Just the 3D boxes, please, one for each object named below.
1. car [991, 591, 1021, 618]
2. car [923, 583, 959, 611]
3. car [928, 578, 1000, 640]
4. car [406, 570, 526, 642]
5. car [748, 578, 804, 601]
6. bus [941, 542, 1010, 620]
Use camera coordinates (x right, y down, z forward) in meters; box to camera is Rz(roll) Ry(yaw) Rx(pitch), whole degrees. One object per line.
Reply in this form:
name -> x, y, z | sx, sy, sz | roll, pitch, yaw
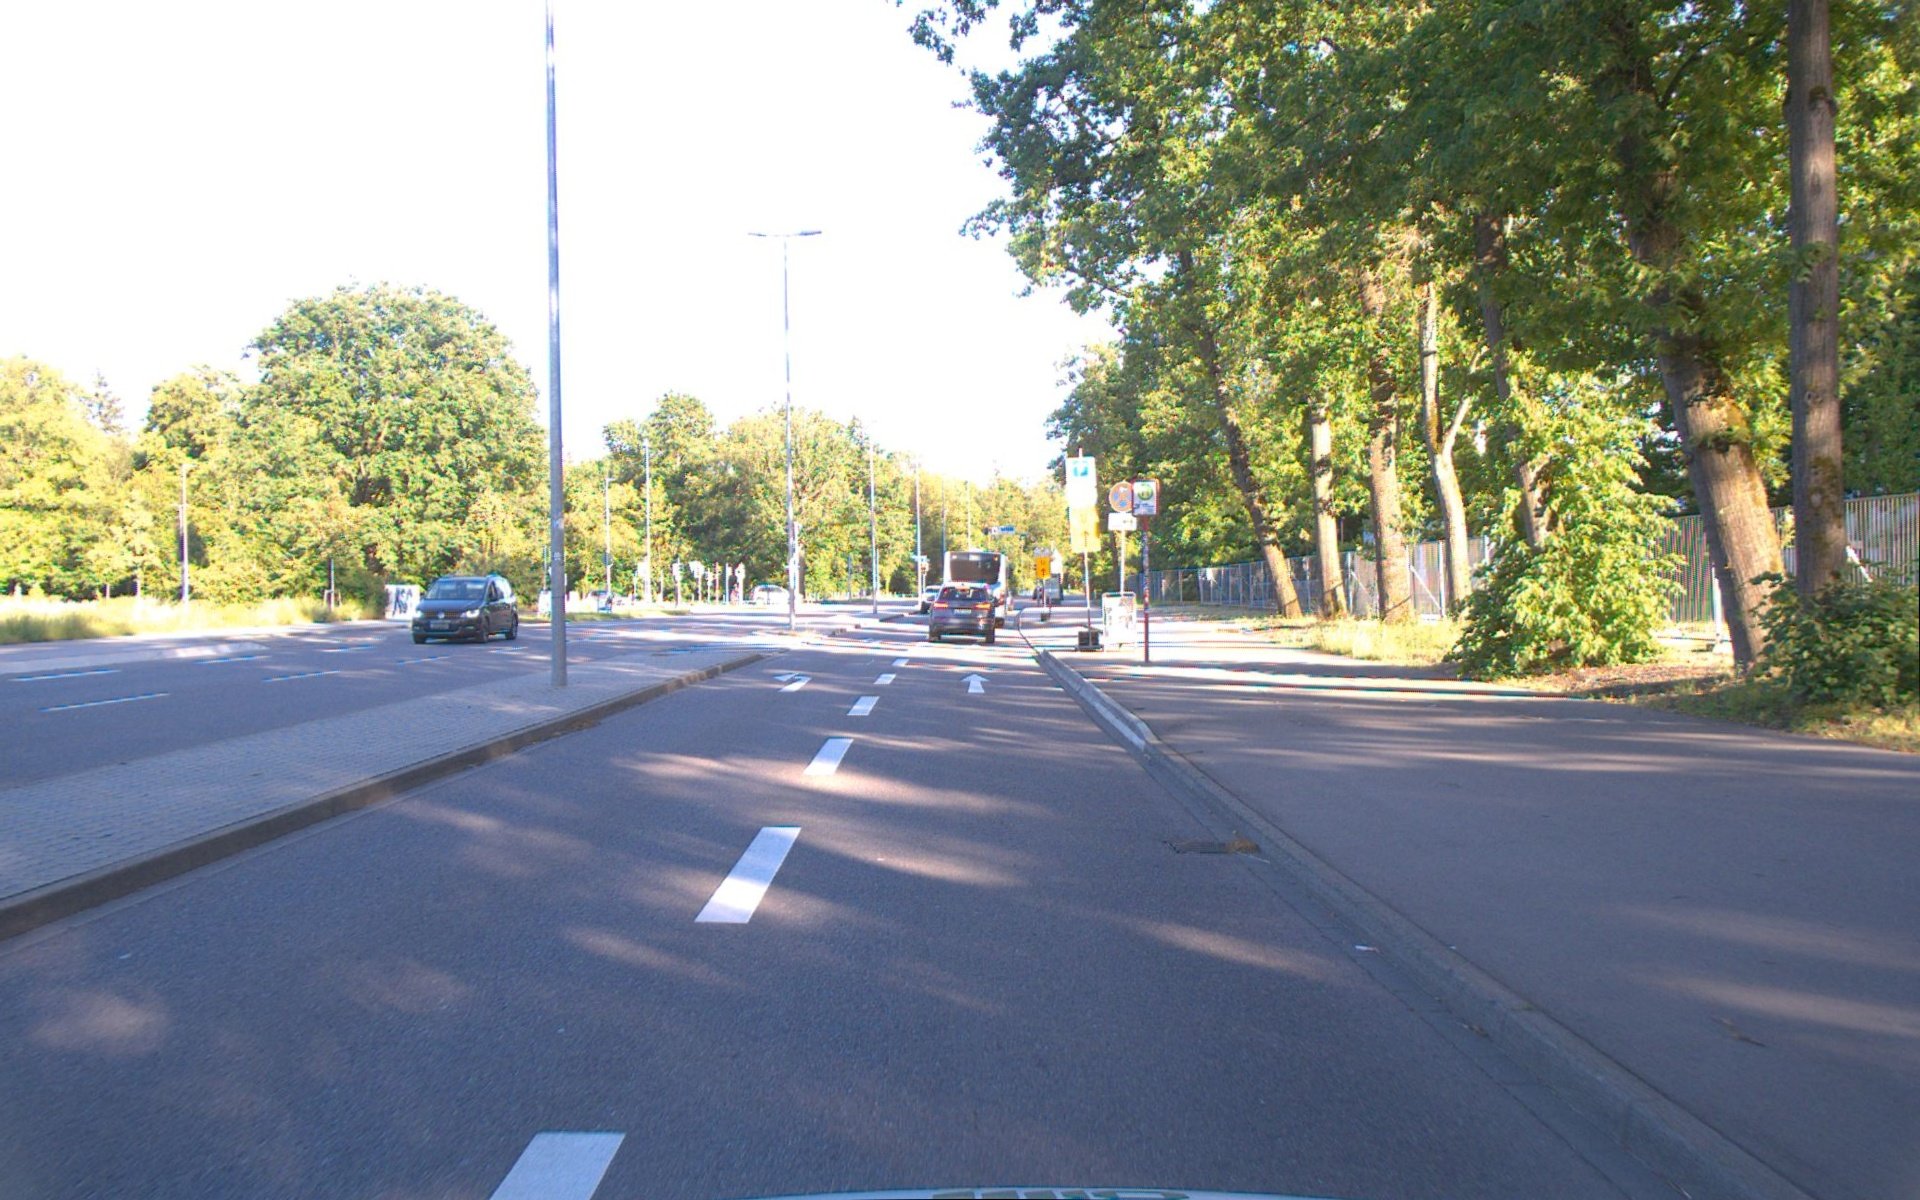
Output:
car -> 3.059, 0.293, 109.333 | 1.870, 1.758, 4.581 | 1, 0, 3
car -> -1.035, -0.183, 92.949 | 1.798, 1.545, 4.002 | 0, 0, 2
car -> 0.156, 0.223, 47.089 | 1.859, 1.660, 4.002 | 1, 1, 2
car -> -12.735, 0.103, 42.918 | 1.747, 1.721, 4.702 | 1, 1, -1
car -> -14.415, -0.830, 129.582 | 4.143, 1.612, 2.099 | -2, 0, -11
bus -> 0.764, -0.765, 69.866 | 2.540, 3.041, 9.329 | 1, 0, 3
